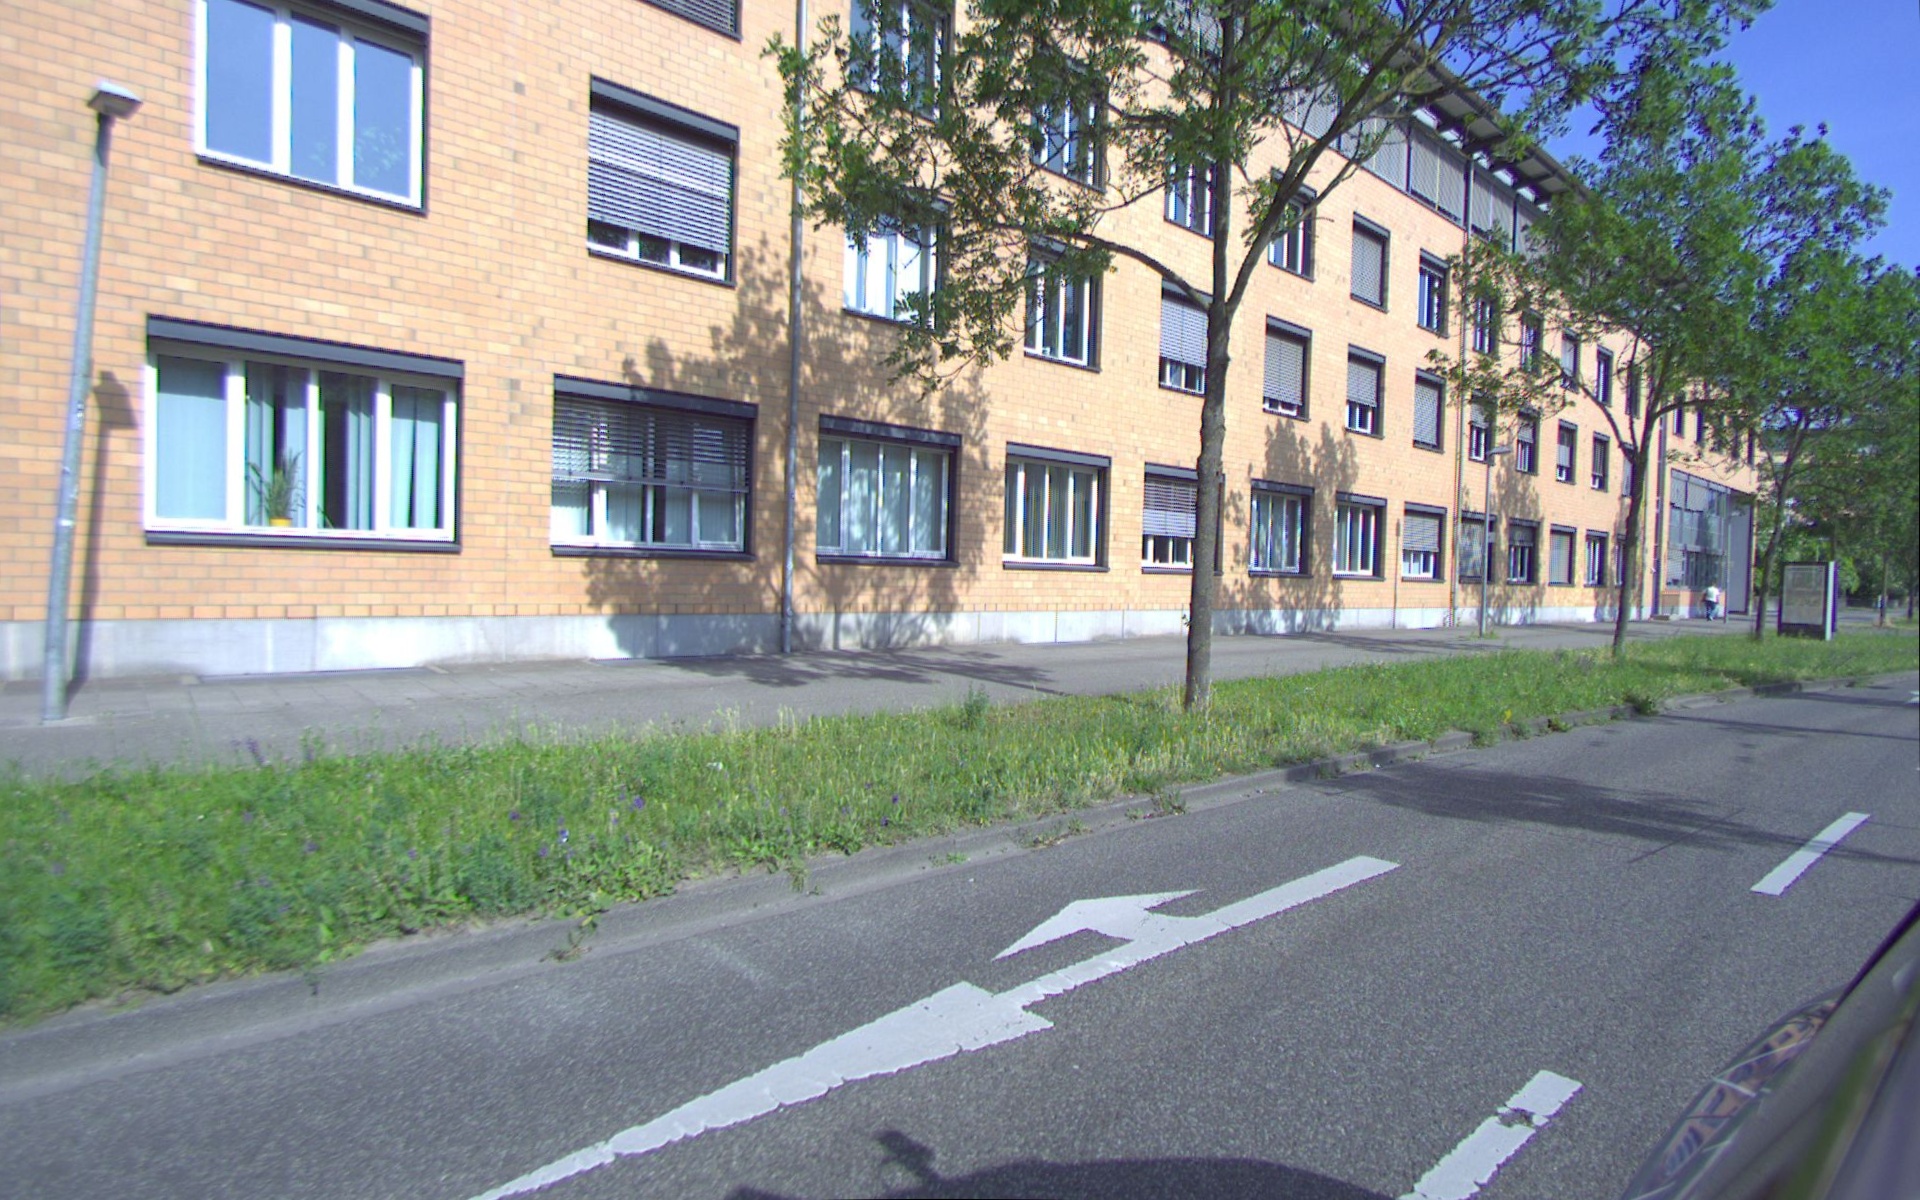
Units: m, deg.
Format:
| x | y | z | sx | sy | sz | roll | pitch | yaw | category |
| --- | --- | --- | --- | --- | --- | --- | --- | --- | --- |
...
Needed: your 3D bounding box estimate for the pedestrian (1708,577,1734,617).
| x | y | z | sx | sy | sz | roll | pitch | yaw | category |
| --- | --- | --- | --- | --- | --- | --- | --- | --- | --- |
| 32.558 | -0.153 | 43.299 | 0.760 | 1.676 | 0.697 | -1 | 3 | -41 | pedestrian |
